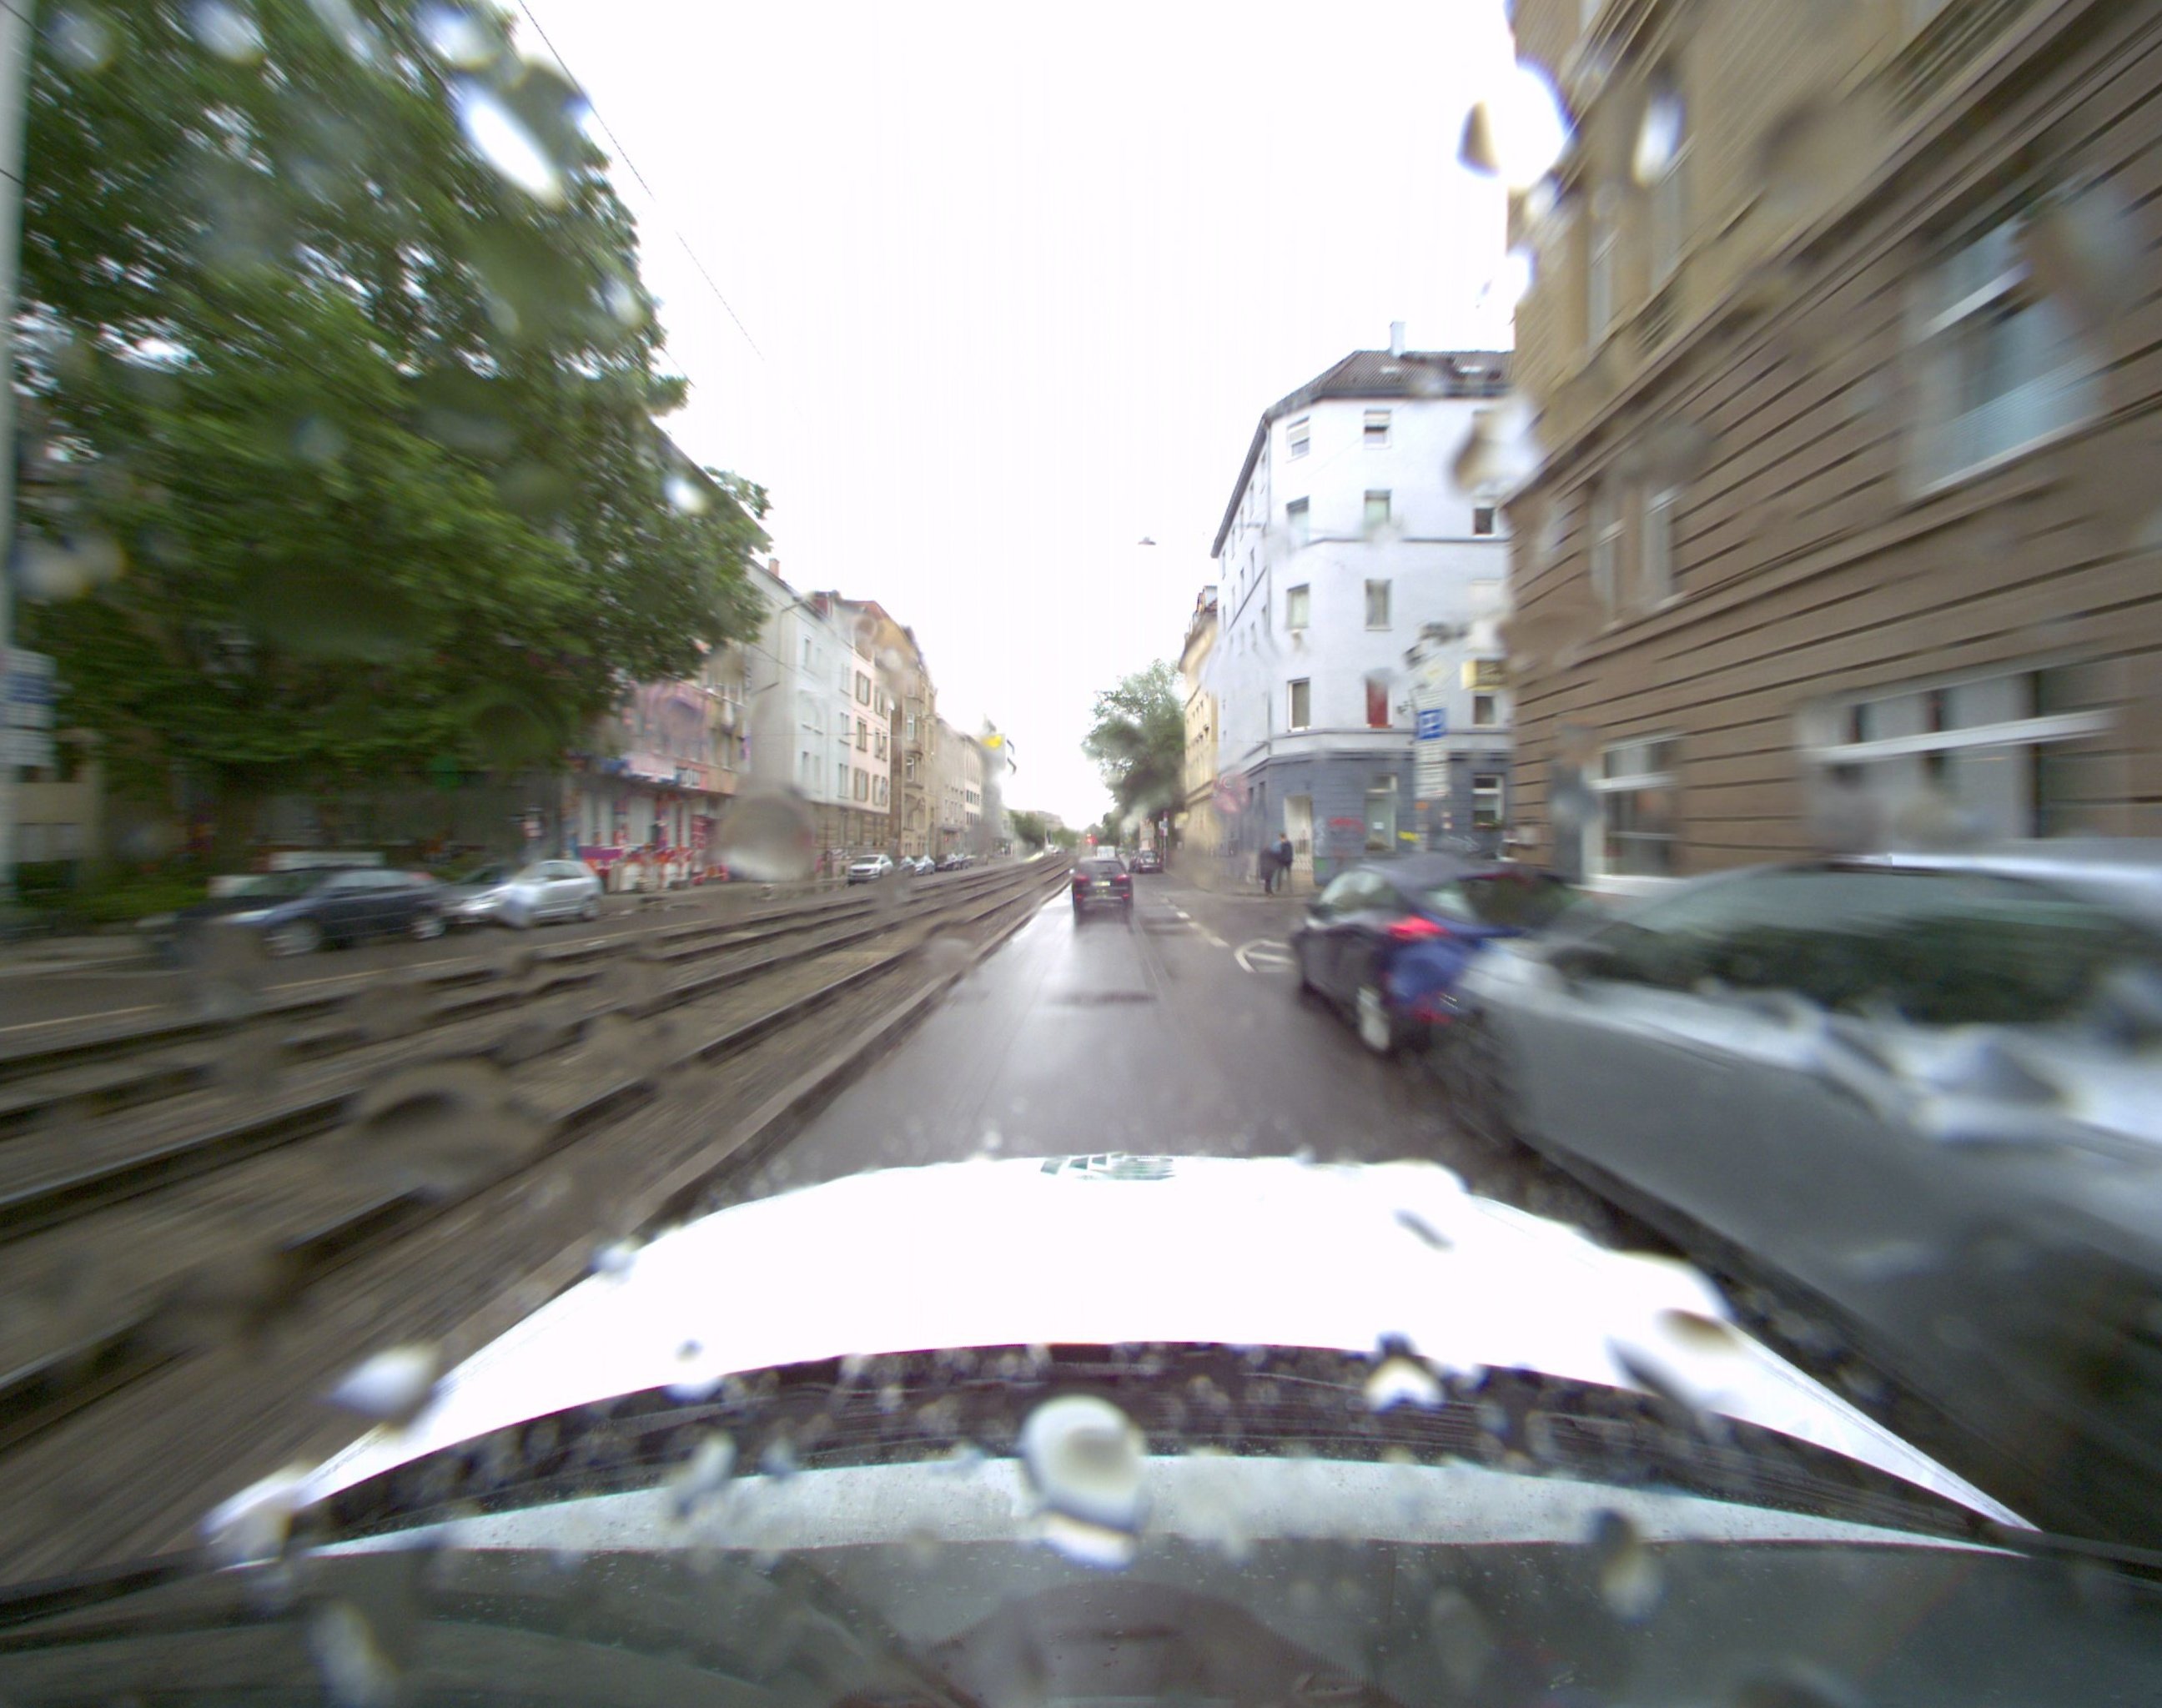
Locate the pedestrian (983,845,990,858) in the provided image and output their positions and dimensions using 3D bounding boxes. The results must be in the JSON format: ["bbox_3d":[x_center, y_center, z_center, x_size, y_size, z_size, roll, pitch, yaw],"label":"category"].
[{"bbox_3d":[-13.615,-0.362,117.383,0.741,1.853,0.839,-1,-1,0],"label":"pedestrian"}]

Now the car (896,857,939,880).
[{"bbox_3d":[-11.687,0.990,58.642,1.986,1.519,4.993,0,0,1],"label":"car"}]

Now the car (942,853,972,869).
[{"bbox_3d":[-11.393,0.639,75.025,1.986,1.376,4.240,0,0,2],"label":"car"}]

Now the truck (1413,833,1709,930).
[{"bbox_3d":[9.937,0.521,17.140,5.045,1.818,2.083,-1,1,-2],"label":"truck"}]

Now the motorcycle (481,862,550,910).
[{"bbox_3d":[-17.289,0.939,24.971,0.637,1.379,2.119,0,0,0],"label":"motorcycle"}]

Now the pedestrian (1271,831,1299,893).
[{"bbox_3d":[6.697,0.259,26.737,0.733,2.013,0.821,0,1,0],"label":"pedestrian"}]

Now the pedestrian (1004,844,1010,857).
[{"bbox_3d":[-11.232,-0.540,123.669,0.741,1.853,0.839,-1,-1,0],"label":"pedestrian"}]

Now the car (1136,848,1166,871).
[{"bbox_3d":[4.674,0.350,54.651,1.732,1.489,4.001,0,1,1],"label":"car"}]

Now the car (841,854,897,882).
[{"bbox_3d":[-12.196,0.768,47.146,1.986,1.519,4.437,0,0,1],"label":"car"}]

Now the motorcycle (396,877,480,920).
[{"bbox_3d":[-17.553,1.189,22.301,0.637,1.033,2.119,0,0,0],"label":"motorcycle"}]

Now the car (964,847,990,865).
[{"bbox_3d":[-11.000,0.233,86.373,1.987,1.839,5.071,0,0,0],"label":"car"}]

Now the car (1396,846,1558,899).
[{"bbox_3d":[11.695,0.529,24.252,3.970,1.430,1.789,-1,1,3],"label":"car"}]

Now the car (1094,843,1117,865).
[{"bbox_3d":[2.156,0.004,71.688,1.986,1.816,4.273,-1,-1,2],"label":"car"}]

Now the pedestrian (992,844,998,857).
[{"bbox_3d":[-12.438,-0.447,117.488,0.741,1.853,0.839,-1,-1,0],"label":"pedestrian"}]

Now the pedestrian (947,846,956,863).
[{"bbox_3d":[-13.602,0.048,85.490,0.799,1.750,0.984,0,0,1],"label":"pedestrian"}]

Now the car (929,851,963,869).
[{"bbox_3d":[-11.410,0.470,69.084,1.986,1.519,4.677,0,0,1],"label":"car"}]

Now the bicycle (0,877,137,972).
[{"bbox_3d":[-14.798,0.968,11.370,0.590,1.226,2.399,0,0,-5],"label":"bicycle"}]

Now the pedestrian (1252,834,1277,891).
[{"bbox_3d":[5.996,0.272,26.634,0.659,1.852,0.821,0,1,1],"label":"pedestrian"}]

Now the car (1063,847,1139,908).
[{"bbox_3d":[0.615,0.644,23.914,1.986,1.594,4.273,-1,-1,2],"label":"car"}]

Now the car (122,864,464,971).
[{"bbox_3d":[-13.286,0.965,14.182,1.737,1.468,4.221,-1,0,1],"label":"car"}]

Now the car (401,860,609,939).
[{"bbox_3d":[-13.076,0.955,18.868,1.715,1.570,4.221,0,0,1],"label":"car"}]

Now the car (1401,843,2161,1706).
[{"bbox_3d":[2.835,0.735,2.943,1.740,1.523,4.356,0,1,1],"label":"car"}]

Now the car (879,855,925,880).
[{"bbox_3d":[-11.636,0.857,53.161,1.986,1.519,4.210,0,0,1],"label":"car"}]

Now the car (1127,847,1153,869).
[{"bbox_3d":[4.277,0.267,59.338,1.637,1.516,4.040,0,1,1],"label":"car"}]

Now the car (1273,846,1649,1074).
[{"bbox_3d":[3.068,0.696,7.645,1.713,1.516,4.261,0,1,3],"label":"car"}]

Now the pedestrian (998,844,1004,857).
[{"bbox_3d":[-12.191,-0.528,123.805,0.741,1.853,0.839,-1,-1,0],"label":"pedestrian"}]
